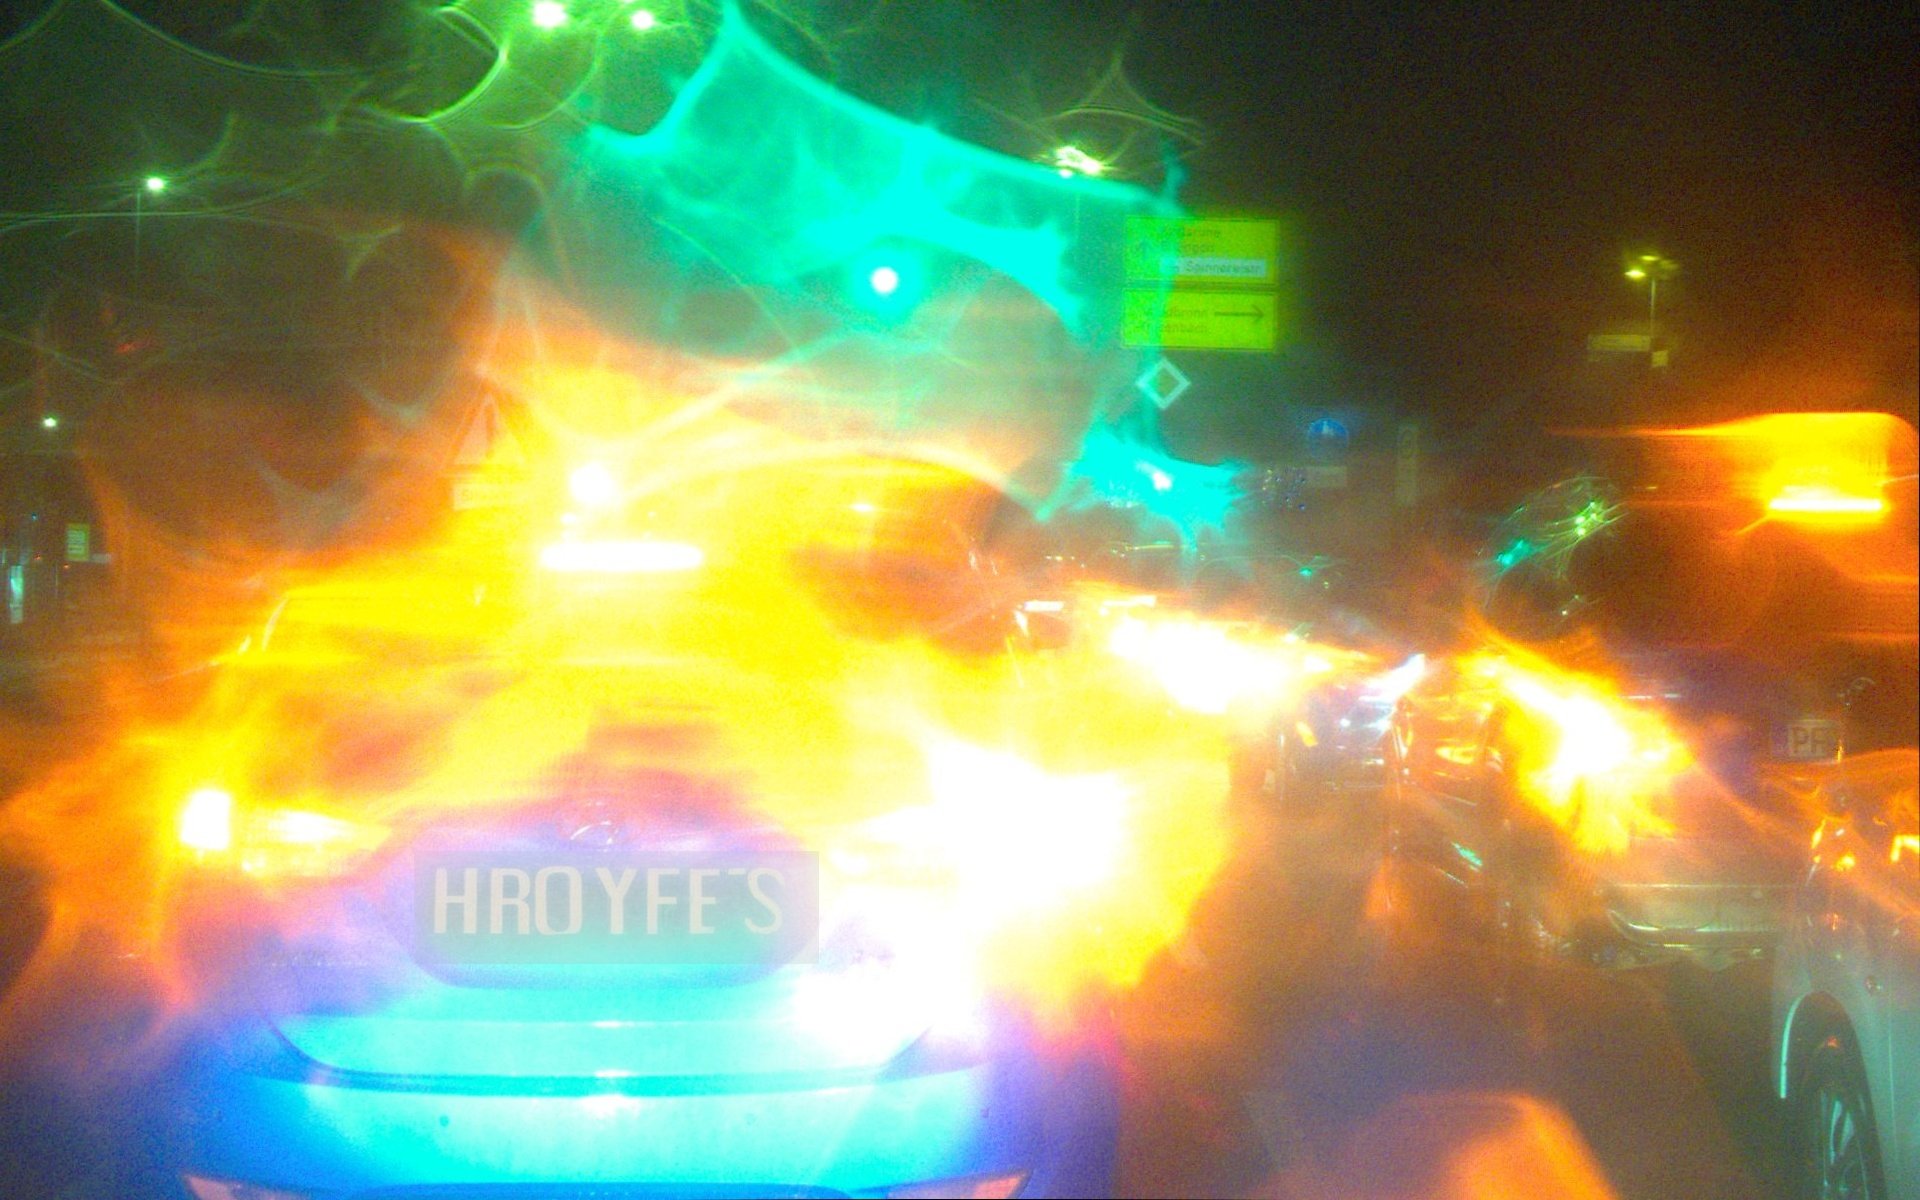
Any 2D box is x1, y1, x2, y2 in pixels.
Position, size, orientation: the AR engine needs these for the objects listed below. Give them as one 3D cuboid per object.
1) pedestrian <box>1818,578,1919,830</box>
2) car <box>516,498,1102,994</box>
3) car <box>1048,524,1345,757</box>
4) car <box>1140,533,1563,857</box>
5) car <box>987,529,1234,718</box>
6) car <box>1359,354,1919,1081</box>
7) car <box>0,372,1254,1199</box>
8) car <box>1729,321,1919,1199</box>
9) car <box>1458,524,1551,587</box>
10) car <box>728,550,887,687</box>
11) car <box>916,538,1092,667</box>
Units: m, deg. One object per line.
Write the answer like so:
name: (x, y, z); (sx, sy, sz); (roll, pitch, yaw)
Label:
pedestrian: (6.287, 0.706, 23.575); (0.622, 1.696, 0.541); (1, 0, -3)
car: (-0.544, 0.484, 13.844); (1.993, 1.678, 4.000); (1, 1, -1)
car: (1.772, 0.276, 27.029); (1.993, 1.664, 4.000); (1, 1, -1)
car: (2.214, 0.494, 20.508); (1.993, 1.712, 4.000); (1, 1, -1)
car: (1.447, 0.207, 34.612); (1.993, 1.767, 4.001); (1, 1, -4)
car: (2.615, 0.322, 11.721); (1.968, 2.040, 4.000); (1, 0, -1)
car: (-0.609, 0.490, 7.677); (2.014, 1.711, 4.452); (1, 1, -1)
car: (2.457, 0.508, 4.510); (1.851, 1.858, 4.341); (1, 1, -1)
car: (14.872, -1.205, 94.045); (1.865, 1.641, 3.963); (-2, 1, 0)
car: (-2.178, 0.231, 48.136); (1.993, 1.818, 4.001); (1, 1, -5)
car: (0.510, 0.008, 43.691); (1.857, 1.539, 3.931); (1, 1, -5)
